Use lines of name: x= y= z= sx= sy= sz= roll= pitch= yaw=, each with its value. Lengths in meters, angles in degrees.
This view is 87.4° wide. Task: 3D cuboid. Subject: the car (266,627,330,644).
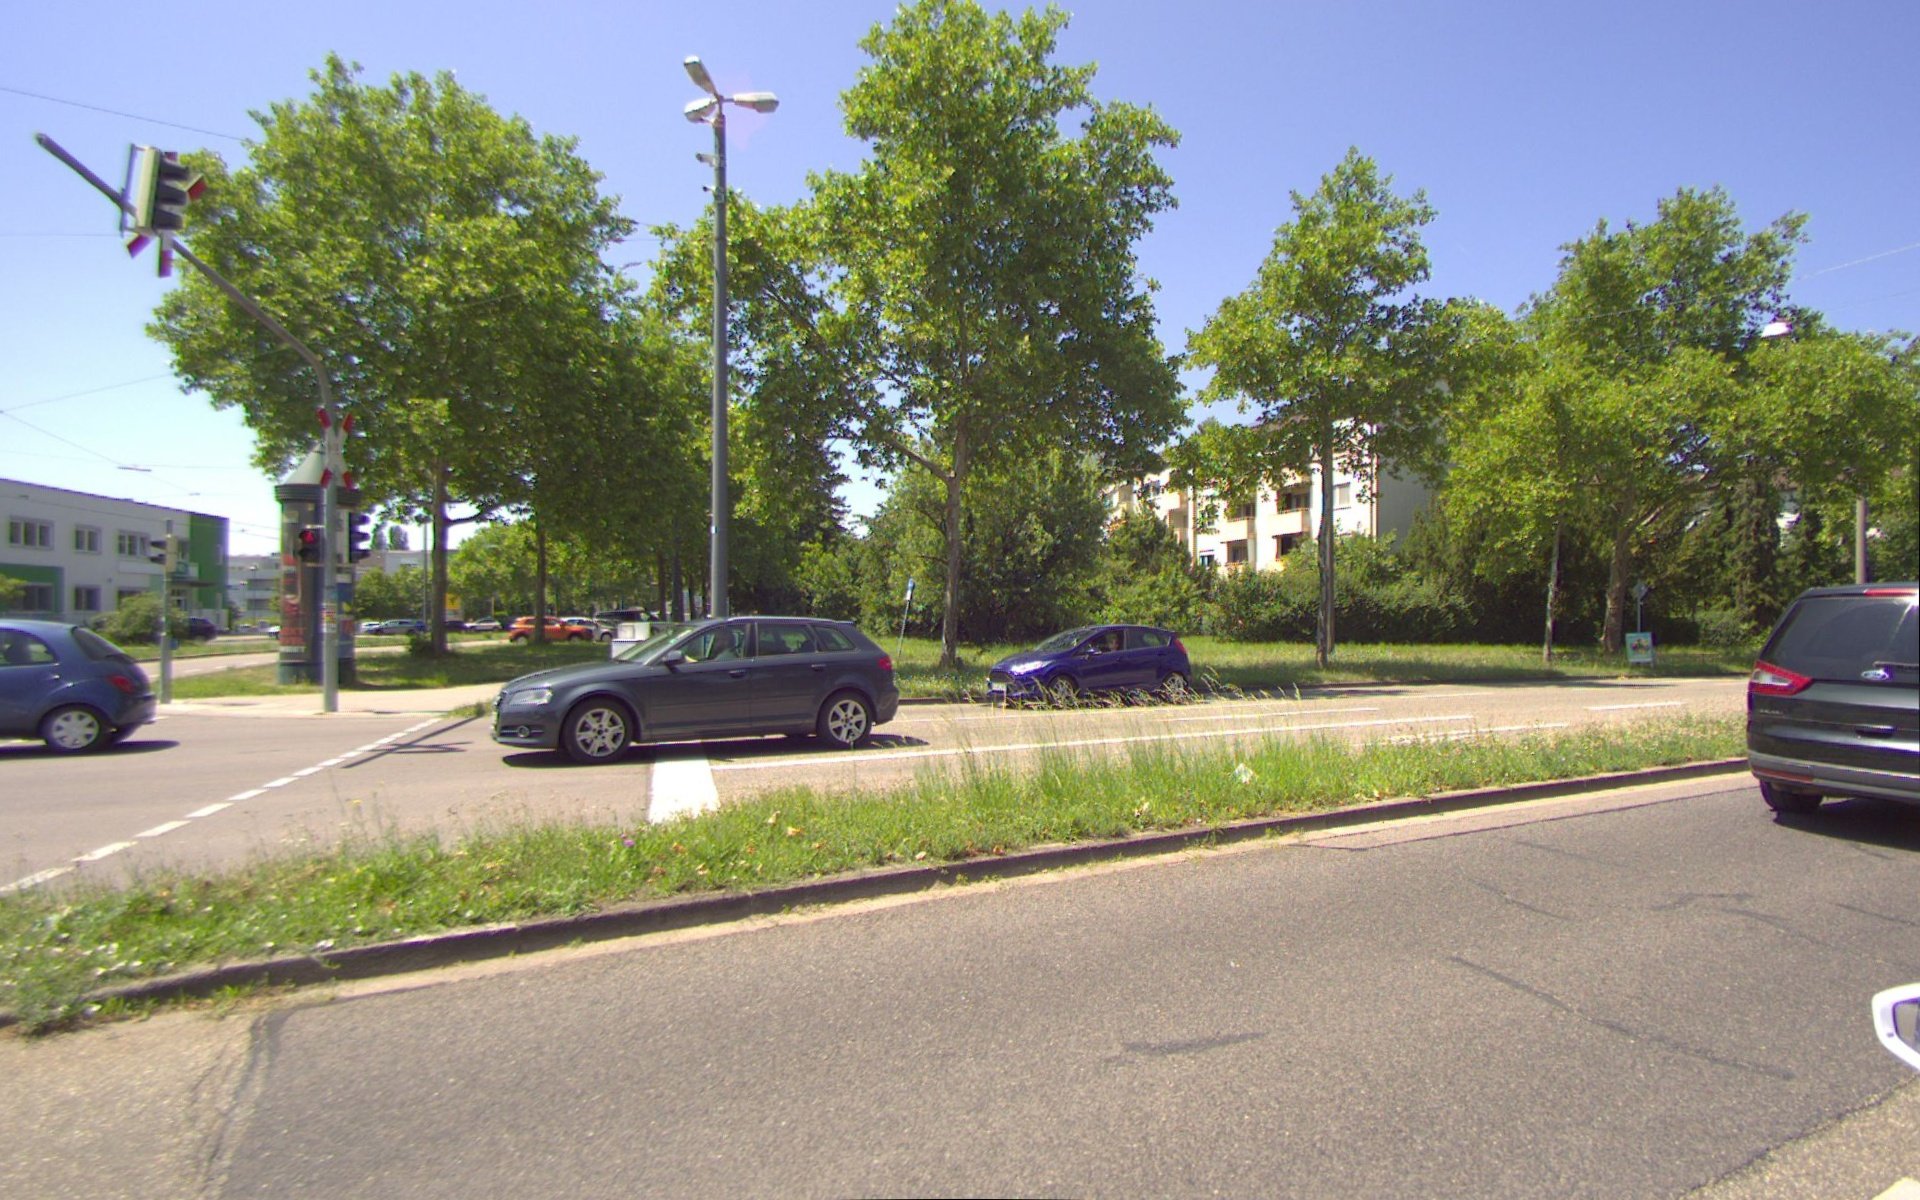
car: x=-48.059 y=2.567 z=73.002 sx=3.852 sy=1.221 sz=1.350 roll=1 pitch=-1 yaw=-33

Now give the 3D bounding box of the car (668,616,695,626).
car: x=-28.843 y=2.213 z=104.122 sx=2.673 sy=1.007 sz=1.007 roll=0 pitch=-1 yaw=-12

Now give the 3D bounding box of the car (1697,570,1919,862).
car: x=7.725 y=0.737 z=7.508 sx=4.592 sy=1.779 sz=1.846 roll=1 pitch=0 yaw=-29

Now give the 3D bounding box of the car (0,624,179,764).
car: x=-10.552 y=0.942 z=10.461 sx=3.507 sy=1.379 sz=1.798 roll=1 pitch=-1 yaw=-28

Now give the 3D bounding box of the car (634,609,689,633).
car: x=-21.107 y=1.460 z=71.066 sx=3.706 sy=1.630 sz=1.619 roll=1 pitch=-1 yaw=-18

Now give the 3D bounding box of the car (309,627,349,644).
car: x=-47.608 y=2.672 z=75.843 sx=2.435 sy=1.221 sz=1.108 roll=1 pitch=-1 yaw=-41

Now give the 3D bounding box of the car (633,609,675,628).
car: x=-24.201 y=1.457 z=79.441 sx=3.009 sy=1.509 sz=1.475 roll=1 pitch=-1 yaw=-12

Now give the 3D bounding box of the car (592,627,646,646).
car: x=-20.289 y=2.144 z=59.832 sx=3.001 sy=1.099 sz=1.384 roll=0 pitch=-1 yaw=-17

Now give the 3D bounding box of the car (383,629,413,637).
car: x=-50.113 y=2.944 z=89.596 sx=2.266 sy=0.652 sz=0.769 roll=1 pitch=-1 yaw=-33

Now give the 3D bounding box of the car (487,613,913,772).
car: x=-2.717 y=0.903 z=10.776 sx=4.130 sy=1.413 sz=1.728 roll=1 pitch=-3 yaw=-31

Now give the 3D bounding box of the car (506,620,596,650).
car: x=-20.919 y=1.815 z=51.559 sx=4.066 sy=1.415 sz=1.455 roll=1 pitch=0 yaw=-14

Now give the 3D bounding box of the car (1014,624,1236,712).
car: x=3.069 y=1.221 z=18.562 sx=3.823 sy=1.474 sz=1.713 roll=1 pitch=-3 yaw=-30
